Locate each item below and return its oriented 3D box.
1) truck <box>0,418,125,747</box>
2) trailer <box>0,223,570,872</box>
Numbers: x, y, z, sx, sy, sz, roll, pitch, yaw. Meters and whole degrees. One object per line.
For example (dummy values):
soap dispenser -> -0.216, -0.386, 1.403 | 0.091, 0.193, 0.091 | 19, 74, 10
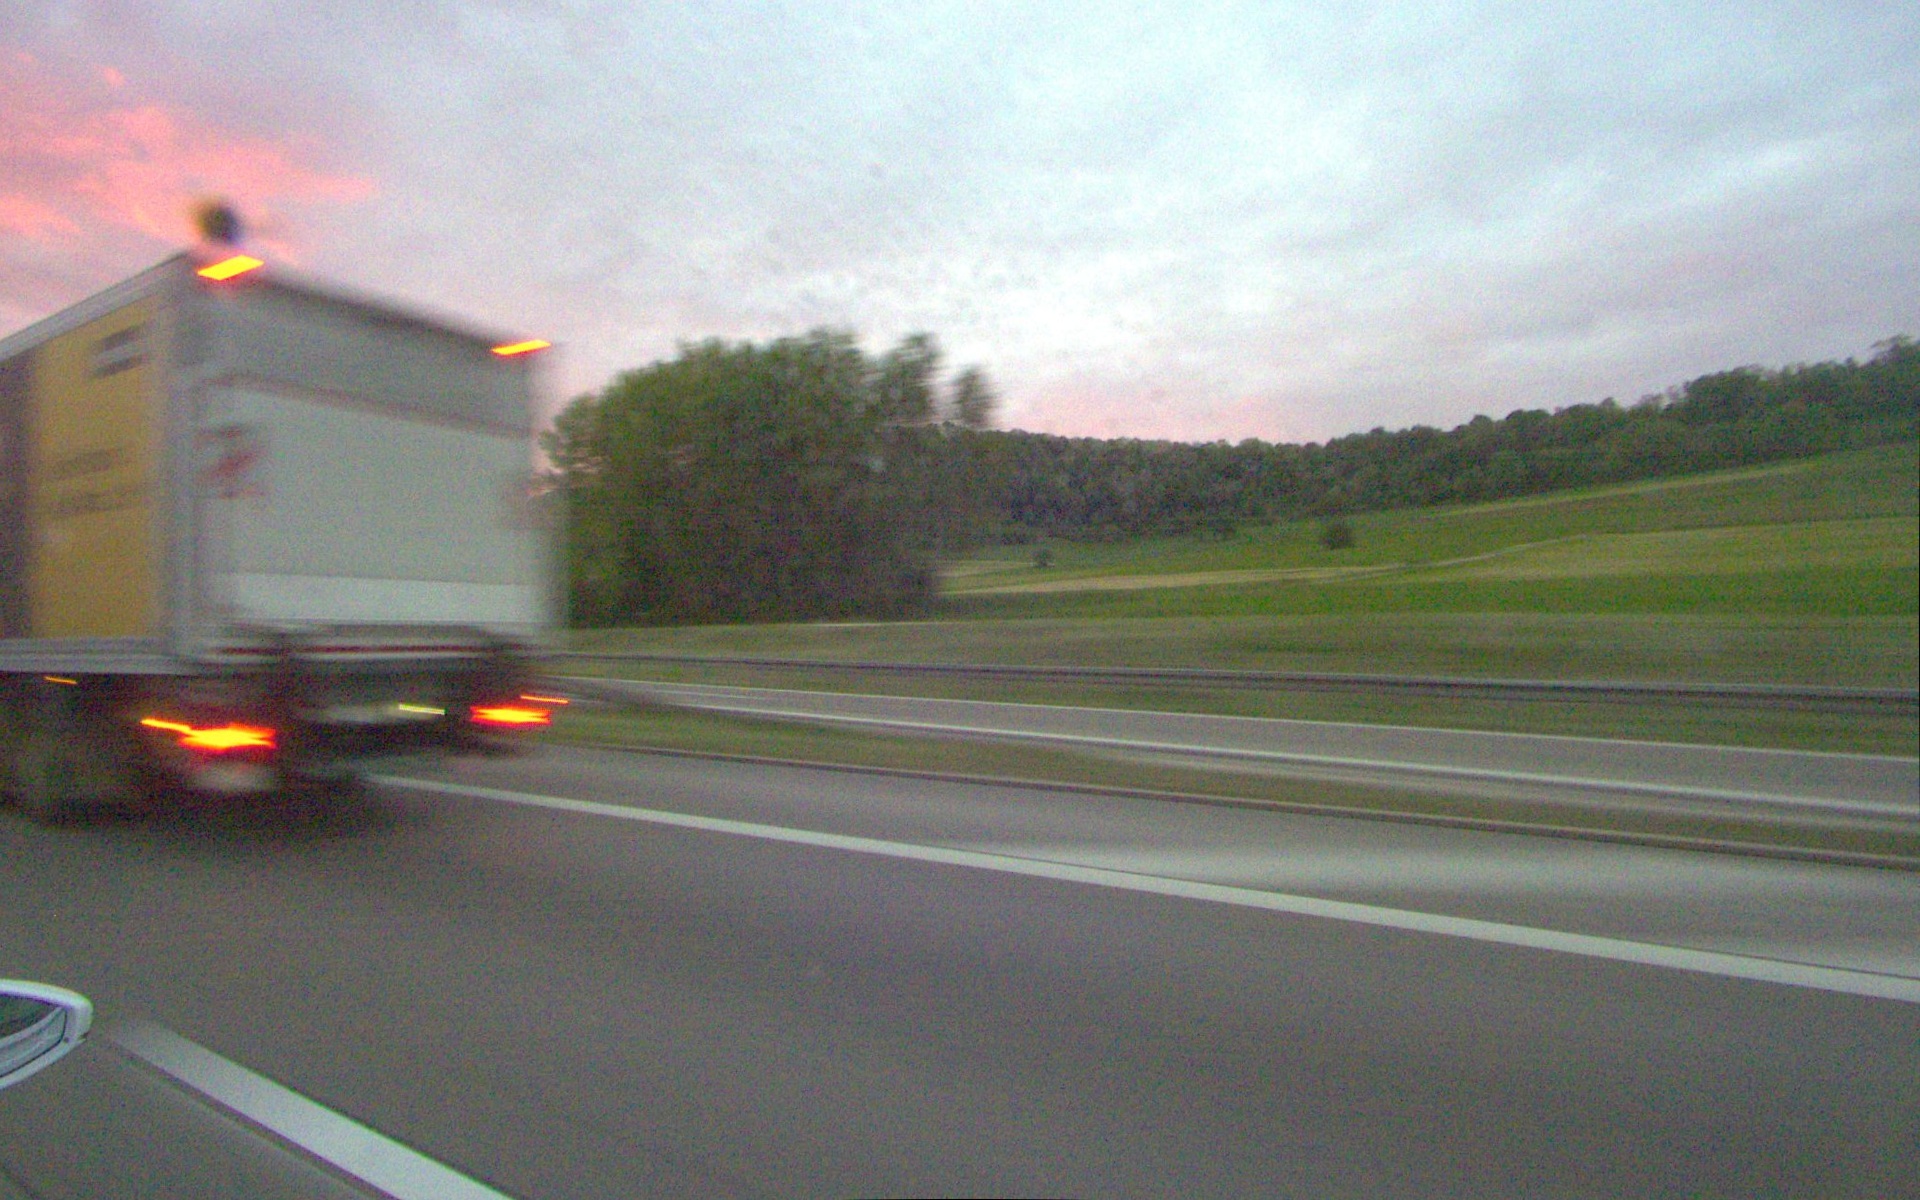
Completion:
truck -> -15.682, -0.141, 14.457 | 10.239, 3.876, 2.611 | -1, -1, 33
trailer -> -7.596, -0.235, 9.401 | 8.749, 3.876, 2.612 | -1, -1, 32
